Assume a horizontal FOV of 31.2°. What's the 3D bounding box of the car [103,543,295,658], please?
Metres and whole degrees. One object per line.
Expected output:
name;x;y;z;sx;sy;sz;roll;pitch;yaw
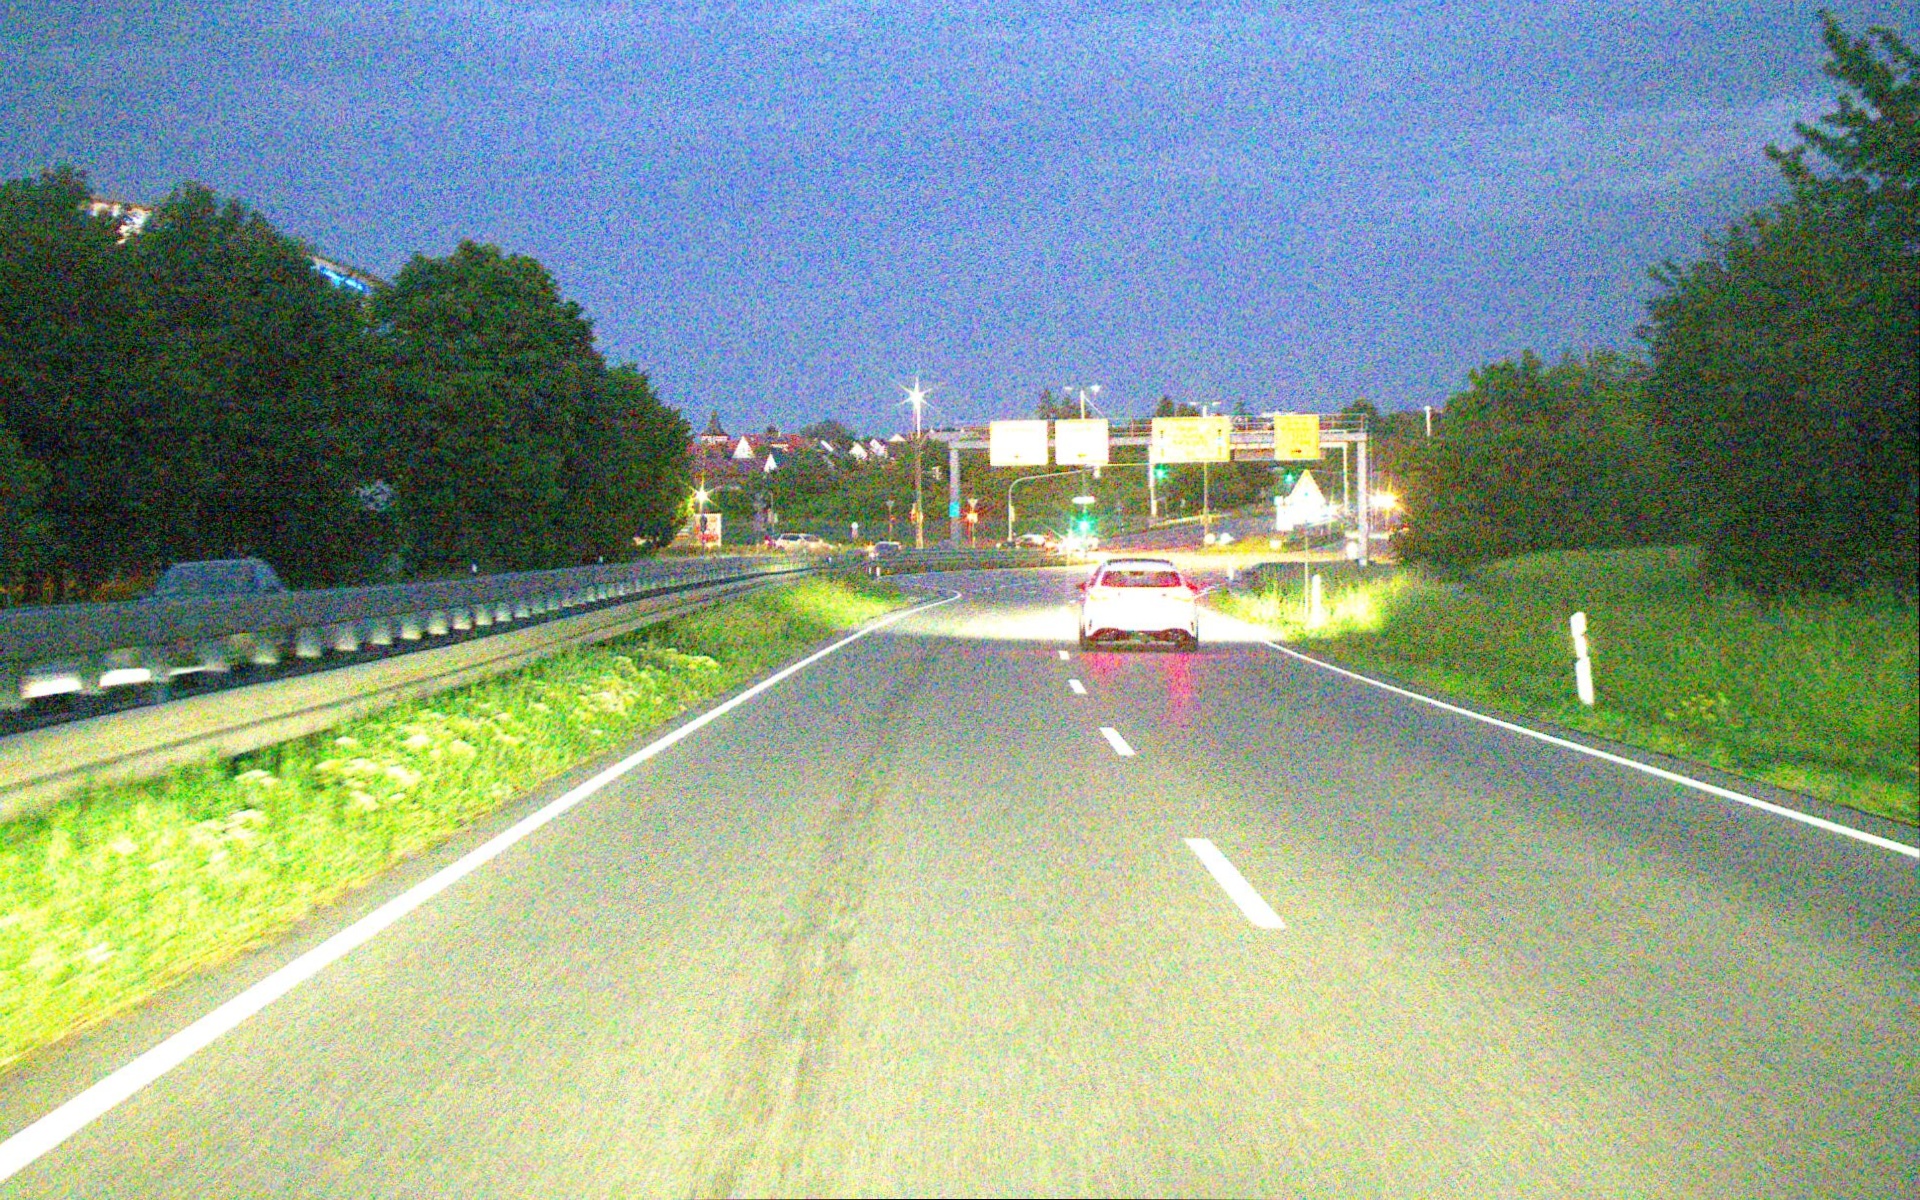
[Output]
car;-10.726;-0.021;48.700;1.835;1.464;3.845;-2;1;-1

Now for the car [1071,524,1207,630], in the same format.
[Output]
car;2.789;-0.386;54.341;2.007;1.605;3.845;-1;1;1
